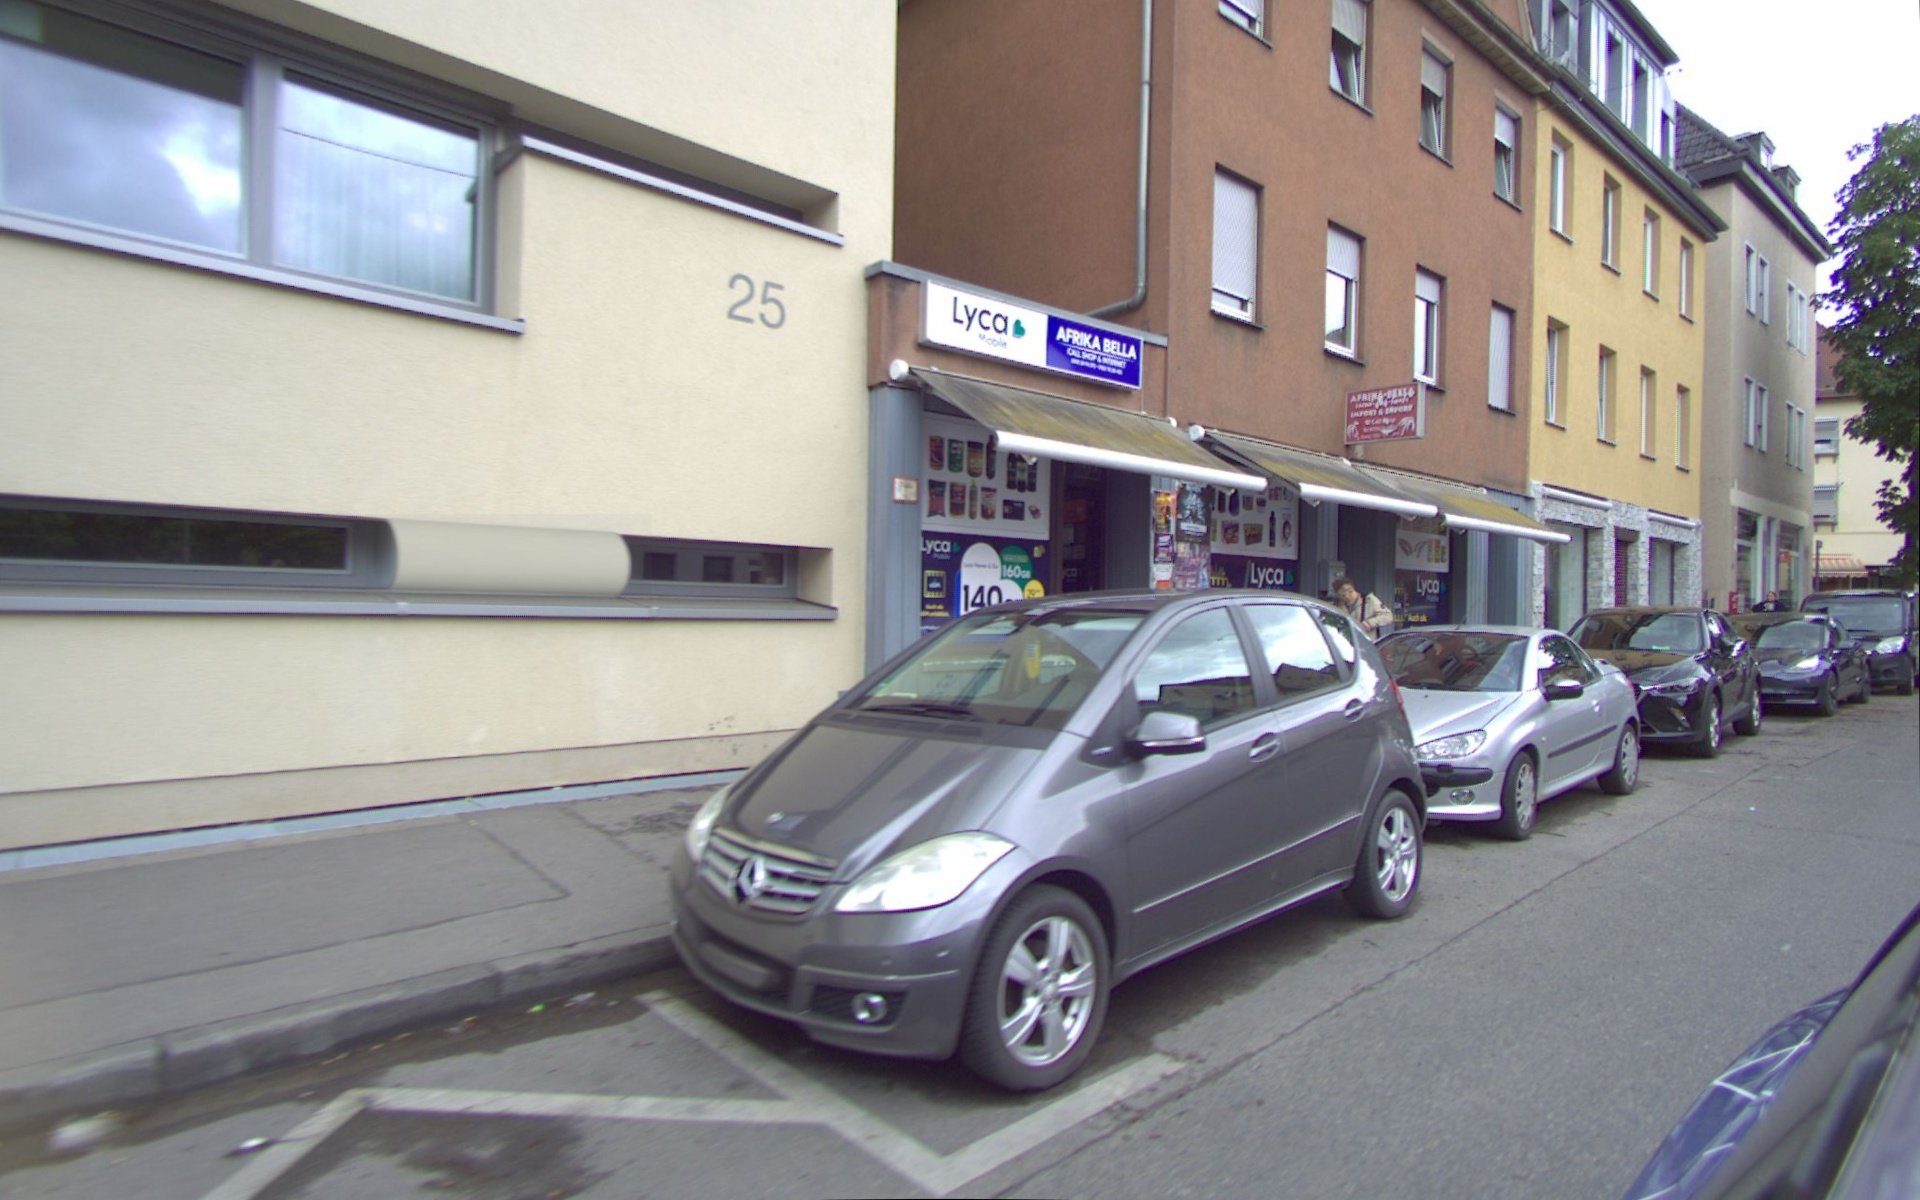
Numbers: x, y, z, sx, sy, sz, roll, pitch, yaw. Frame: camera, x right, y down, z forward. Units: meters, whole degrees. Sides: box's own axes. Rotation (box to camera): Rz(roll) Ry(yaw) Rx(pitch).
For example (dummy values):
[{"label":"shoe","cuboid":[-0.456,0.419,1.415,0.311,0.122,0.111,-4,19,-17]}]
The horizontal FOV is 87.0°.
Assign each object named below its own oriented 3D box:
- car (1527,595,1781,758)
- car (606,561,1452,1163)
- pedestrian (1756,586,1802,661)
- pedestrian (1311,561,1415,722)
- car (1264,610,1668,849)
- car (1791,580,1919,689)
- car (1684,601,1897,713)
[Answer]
[{"label":"car","cuboid":[8.047,0.713,11.573,4.139,1.538,1.603,0,0,-44]},{"label":"car","cuboid":[0.564,0.672,4.553,3.721,1.580,1.714,0,0,-42]},{"label":"pedestrian","cuboid":[18.973,0.525,23.442,0.965,1.673,0.615,1,1,-42]},{"label":"pedestrian","cuboid":[4.421,0.424,11.096,0.873,1.670,0.702,1,1,-41]},{"label":"car","cuboid":[4.039,0.780,7.810,3.747,1.350,1.553,0,0,-42]},{"label":"car","cuboid":[16.912,0.551,18.711,4.328,1.803,1.822,0,0,-43]},{"label":"car","cuboid":[12.832,0.755,15.539,4.431,1.423,1.755,0,2,-40]}]
